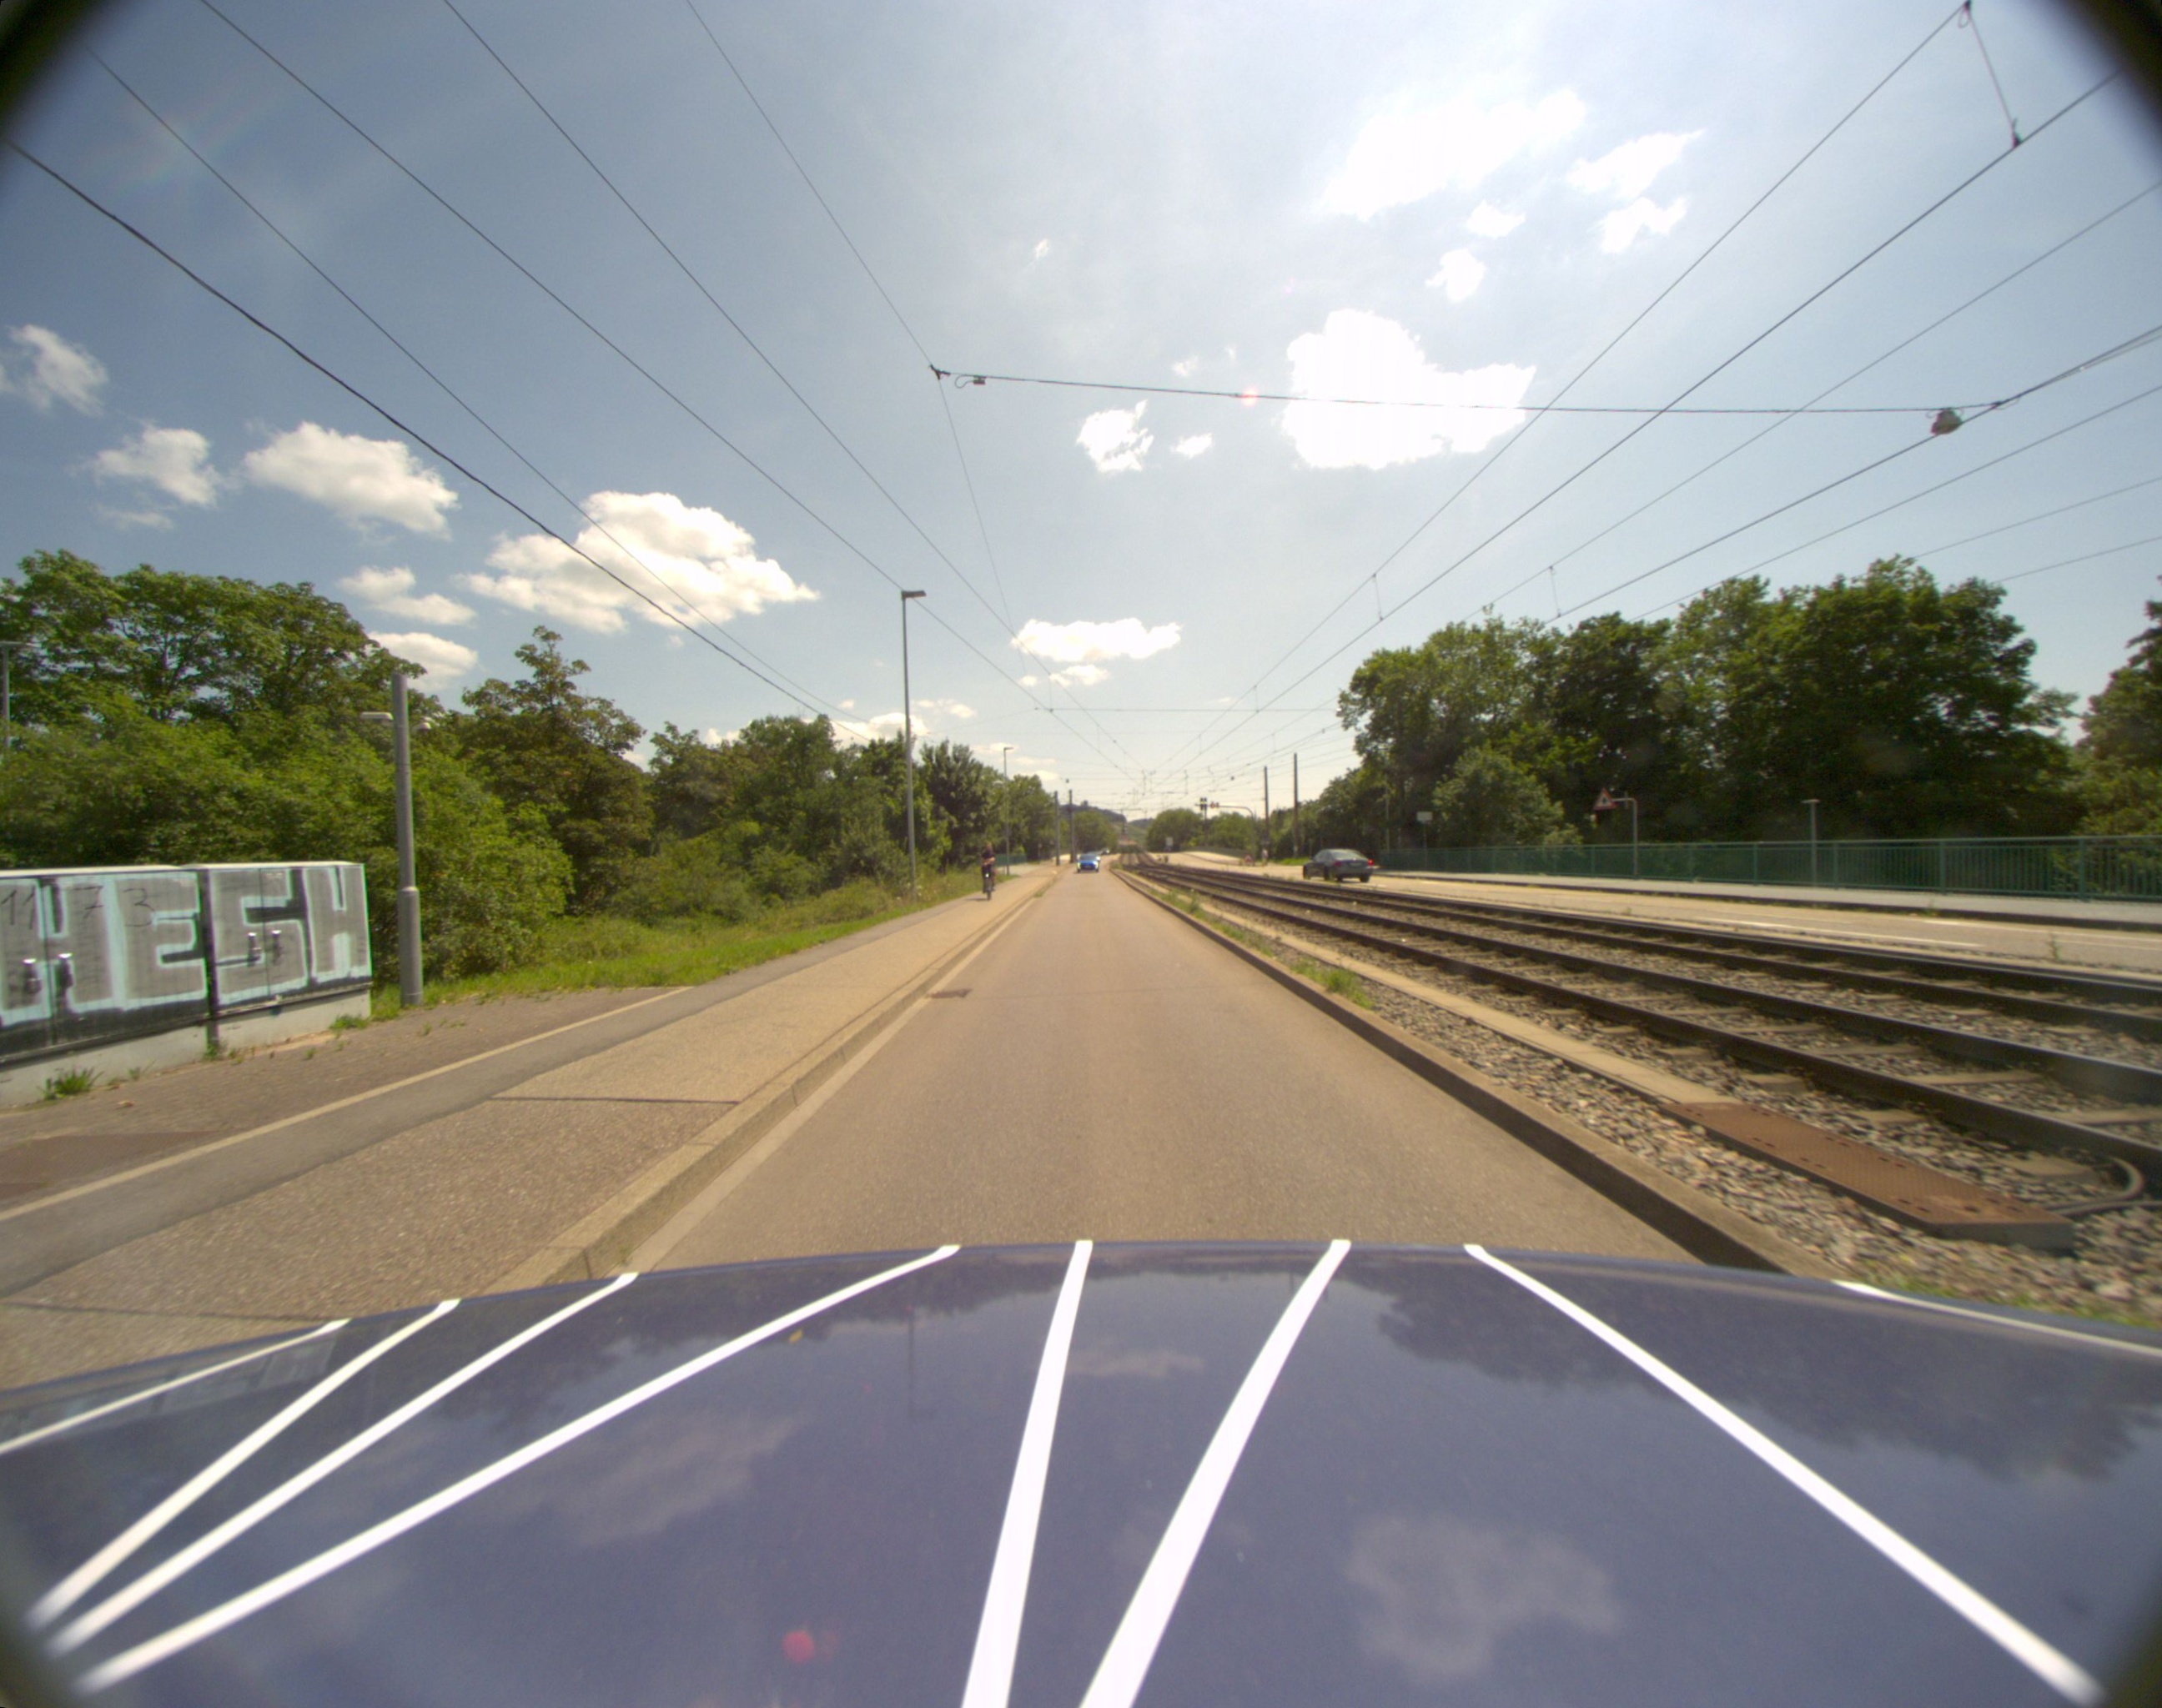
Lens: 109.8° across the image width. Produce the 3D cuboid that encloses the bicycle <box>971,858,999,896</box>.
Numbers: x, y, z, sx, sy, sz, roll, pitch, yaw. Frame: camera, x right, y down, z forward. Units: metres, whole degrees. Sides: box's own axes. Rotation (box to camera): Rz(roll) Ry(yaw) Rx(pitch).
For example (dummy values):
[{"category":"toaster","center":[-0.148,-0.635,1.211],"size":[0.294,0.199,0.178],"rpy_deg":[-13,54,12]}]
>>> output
[{"category":"bicycle","center":[-3.017,0.704,23.977],"size":[0.433,1.145,1.856],"rpy_deg":[-3,-1,5]}]

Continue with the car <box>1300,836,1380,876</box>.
[{"category":"car","center":[12.100,0.056,35.915],"size":[1.880,1.710,5.329],"rpy_deg":[-2,1,0]}]

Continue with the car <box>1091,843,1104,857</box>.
[{"category":"car","center":[2.183,-0.526,101.645],"size":[1.683,1.737,3.686],"rpy_deg":[-3,-1,1]}]

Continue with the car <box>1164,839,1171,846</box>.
[{"category":"car","center":[21.742,-2.880,190.528],"size":[1.709,1.501,3.734],"rpy_deg":[-1,1,5]}]

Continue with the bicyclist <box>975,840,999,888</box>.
[{"category":"bicyclist","center":[-2.999,0.328,24.349],"size":[0.586,1.486,0.558],"rpy_deg":[-3,0,5]}]

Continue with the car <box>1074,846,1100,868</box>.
[{"category":"car","center":[0.540,0.253,61.037],"size":[1.864,1.630,4.001],"rpy_deg":[-3,-1,3]}]

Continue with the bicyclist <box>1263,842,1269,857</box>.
[{"category":"bicyclist","center":[18.400,-0.448,75.631],"size":[0.457,1.465,0.633],"rpy_deg":[-2,1,3]}]

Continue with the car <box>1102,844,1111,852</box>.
[{"category":"car","center":[5.444,-1.298,160.780],"size":[1.730,1.696,4.000],"rpy_deg":[-2,0,2]}]

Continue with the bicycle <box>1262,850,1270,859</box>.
[{"category":"bicycle","center":[18.427,0.024,75.712],"size":[0.470,0.863,1.742],"rpy_deg":[-2,2,3]}]
